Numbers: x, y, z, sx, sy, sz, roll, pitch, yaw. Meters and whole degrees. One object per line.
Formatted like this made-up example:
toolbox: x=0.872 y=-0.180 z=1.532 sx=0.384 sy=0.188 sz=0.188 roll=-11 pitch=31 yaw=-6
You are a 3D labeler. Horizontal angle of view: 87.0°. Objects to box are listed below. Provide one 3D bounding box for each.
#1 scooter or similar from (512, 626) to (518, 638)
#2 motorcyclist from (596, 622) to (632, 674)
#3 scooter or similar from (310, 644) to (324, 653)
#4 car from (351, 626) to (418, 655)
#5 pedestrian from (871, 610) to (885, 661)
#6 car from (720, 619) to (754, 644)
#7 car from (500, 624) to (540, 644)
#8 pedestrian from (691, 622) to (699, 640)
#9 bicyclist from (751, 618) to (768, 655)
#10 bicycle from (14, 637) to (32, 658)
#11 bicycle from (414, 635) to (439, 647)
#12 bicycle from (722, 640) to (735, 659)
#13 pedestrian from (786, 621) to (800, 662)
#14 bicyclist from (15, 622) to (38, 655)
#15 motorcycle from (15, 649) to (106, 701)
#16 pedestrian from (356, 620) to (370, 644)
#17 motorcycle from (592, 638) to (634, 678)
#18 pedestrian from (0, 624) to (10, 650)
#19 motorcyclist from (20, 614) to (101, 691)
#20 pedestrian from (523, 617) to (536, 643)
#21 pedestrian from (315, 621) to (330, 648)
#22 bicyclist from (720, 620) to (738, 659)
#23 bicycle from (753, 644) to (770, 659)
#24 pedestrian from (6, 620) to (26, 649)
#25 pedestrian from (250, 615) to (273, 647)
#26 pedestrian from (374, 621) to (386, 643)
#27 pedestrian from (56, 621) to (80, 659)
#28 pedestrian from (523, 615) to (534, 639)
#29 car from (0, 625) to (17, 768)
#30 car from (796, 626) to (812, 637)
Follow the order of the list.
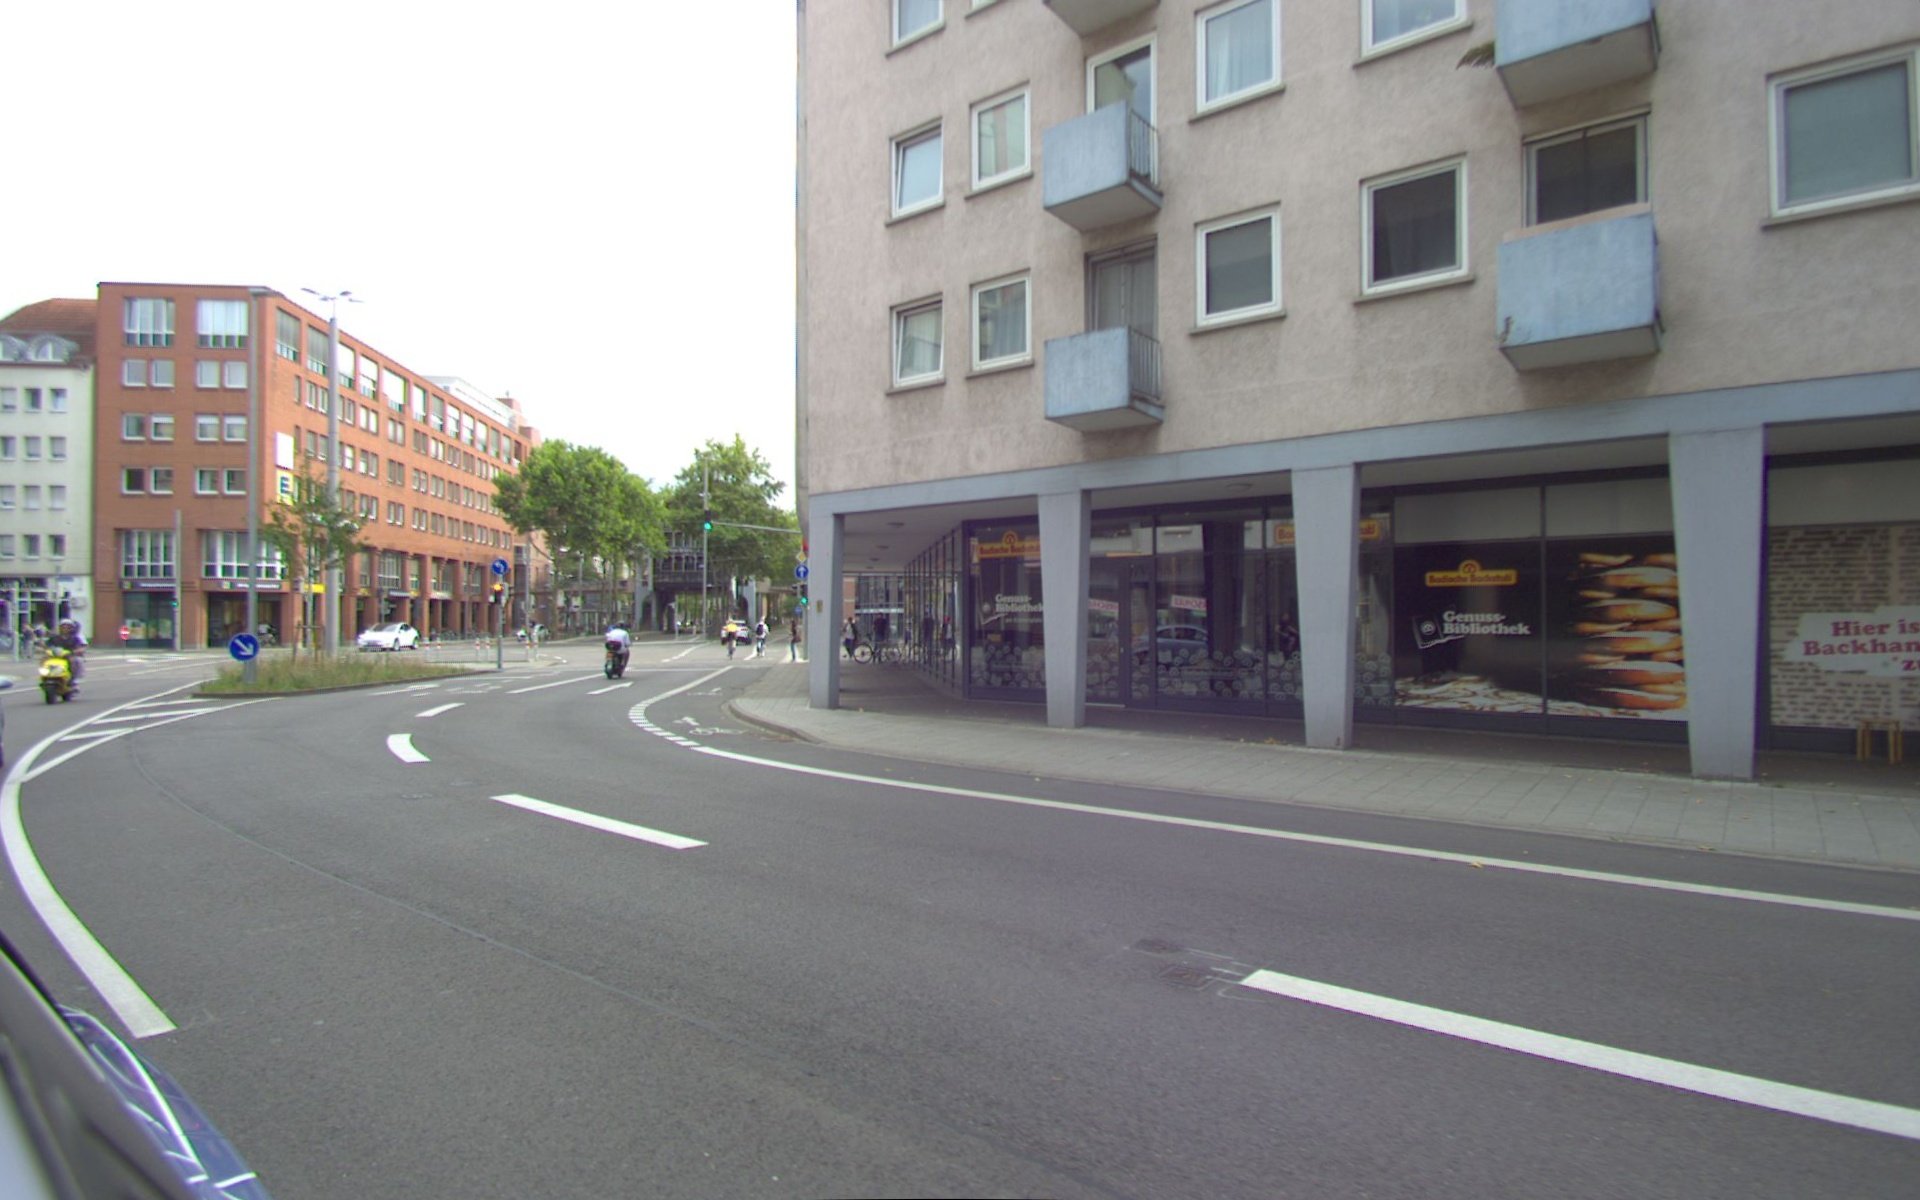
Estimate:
scooter or similar: x=-48.891 y=3.510 z=111.157 sx=0.268 sy=1.267 sz=0.922 roll=0 pitch=-2 yaw=-6
motorcyclist: x=-9.979 y=1.384 z=29.229 sx=0.786 sy=1.471 sz=0.866 roll=2 pitch=-3 yaw=-6
scooter or similar: x=-41.544 y=3.112 z=65.404 sx=0.500 sy=0.578 sz=0.818 roll=0 pitch=-1 yaw=-14
car: x=-33.191 y=2.294 z=58.453 sx=1.928 sy=1.613 sz=4.005 roll=0 pitch=-1 yaw=-6
pedestrian: x=-2.901 y=1.259 z=35.918 sx=0.470 sy=1.779 sz=0.590 roll=0 pitch=-2 yaw=-7
car: x=-15.482 y=2.152 z=70.430 sx=1.810 sy=1.672 sz=4.329 roll=0 pitch=-2 yaw=-5
car: x=-36.011 y=2.745 z=82.961 sx=1.928 sy=1.613 sz=4.005 roll=0 pitch=-1 yaw=-6
pedestrian: x=-23.074 y=2.707 z=88.215 sx=0.648 sy=1.549 sz=0.560 roll=0 pitch=0 yaw=-10
bicyclist: x=-9.029 y=1.650 z=45.587 sx=0.601 sy=1.658 sz=1.038 roll=0 pitch=-2 yaw=-4
bicycle: x=-44.491 y=2.244 z=48.063 sx=1.808 sy=0.958 sz=0.535 roll=-2 pitch=-3 yaw=45
bicycle: x=-46.517 y=3.586 z=88.210 sx=1.832 sy=1.048 sz=0.508 roll=0 pitch=-2 yaw=-6
bicycle: x=-9.996 y=2.130 z=43.730 sx=0.403 sy=0.801 sz=2.002 roll=0 pitch=-2 yaw=-10
pedestrian: x=-6.517 y=1.619 z=39.500 sx=0.492 sy=1.571 sz=0.519 roll=0 pitch=-2 yaw=-13
bicyclist: x=-44.355 y=1.836 z=48.104 sx=0.947 sy=1.571 sz=0.735 roll=-2 pitch=-3 yaw=45
motorcycle: x=-18.580 y=1.525 z=20.959 sx=0.561 sy=0.975 sz=2.020 roll=0 pitch=-2 yaw=-16
pedestrian: x=-43.540 y=2.335 z=73.855 sx=0.637 sy=1.709 sz=0.699 roll=1 pitch=-1 yaw=-9
motorcycle: x=-9.985 y=1.657 z=29.191 sx=0.712 sy=1.103 sz=2.039 roll=2 pitch=-3 yaw=-8
pedestrian: x=-55.623 y=2.131 z=58.694 sx=0.627 sy=1.523 sz=0.587 roll=-2 pitch=-2 yaw=31
motorcyclist: x=-18.515 y=1.070 z=20.856 sx=0.857 sy=1.528 sz=1.047 roll=0 pitch=-2 yaw=-16
pedestrian: x=-31.995 y=2.245 z=75.187 sx=0.683 sy=1.889 sz=0.808 roll=0 pitch=-2 yaw=-6
pedestrian: x=-41.739 y=2.263 z=66.229 sx=0.631 sy=1.700 sz=0.601 roll=0 pitch=-2 yaw=-7
bicyclist: x=-9.923 y=1.698 z=43.522 sx=0.703 sy=1.662 sz=0.973 roll=0 pitch=-2 yaw=-8
bicycle: x=-8.940 y=2.313 z=45.617 sx=0.478 sy=0.593 sz=1.999 roll=0 pitch=-2 yaw=-4
pedestrian: x=-55.310 y=2.013 z=59.305 sx=0.719 sy=1.660 sz=0.699 roll=-2 pitch=-2 yaw=31
pedestrian: x=-45.713 y=2.058 z=66.188 sx=1.045 sy=2.029 sz=0.985 roll=-3 pitch=-1 yaw=42
pedestrian: x=-43.720 y=2.390 z=76.283 sx=0.402 sy=1.644 sz=0.731 roll=1 pitch=-2 yaw=1
pedestrian: x=-43.471 y=1.969 z=49.334 sx=0.560 sy=1.838 sz=0.697 roll=0 pitch=-2 yaw=-7
pedestrian: x=-32.880 y=2.071 z=77.041 sx=0.530 sy=1.805 sz=0.574 roll=-1 pitch=-2 yaw=14
car: x=-10.083 y=0.980 z=9.354 sx=1.697 sy=1.413 sz=4.007 roll=-2 pitch=0 yaw=-39
car: x=-28.252 y=5.637 z=183.271 sx=2.468 sy=1.962 sz=5.104 roll=0 pitch=-2 yaw=-12
